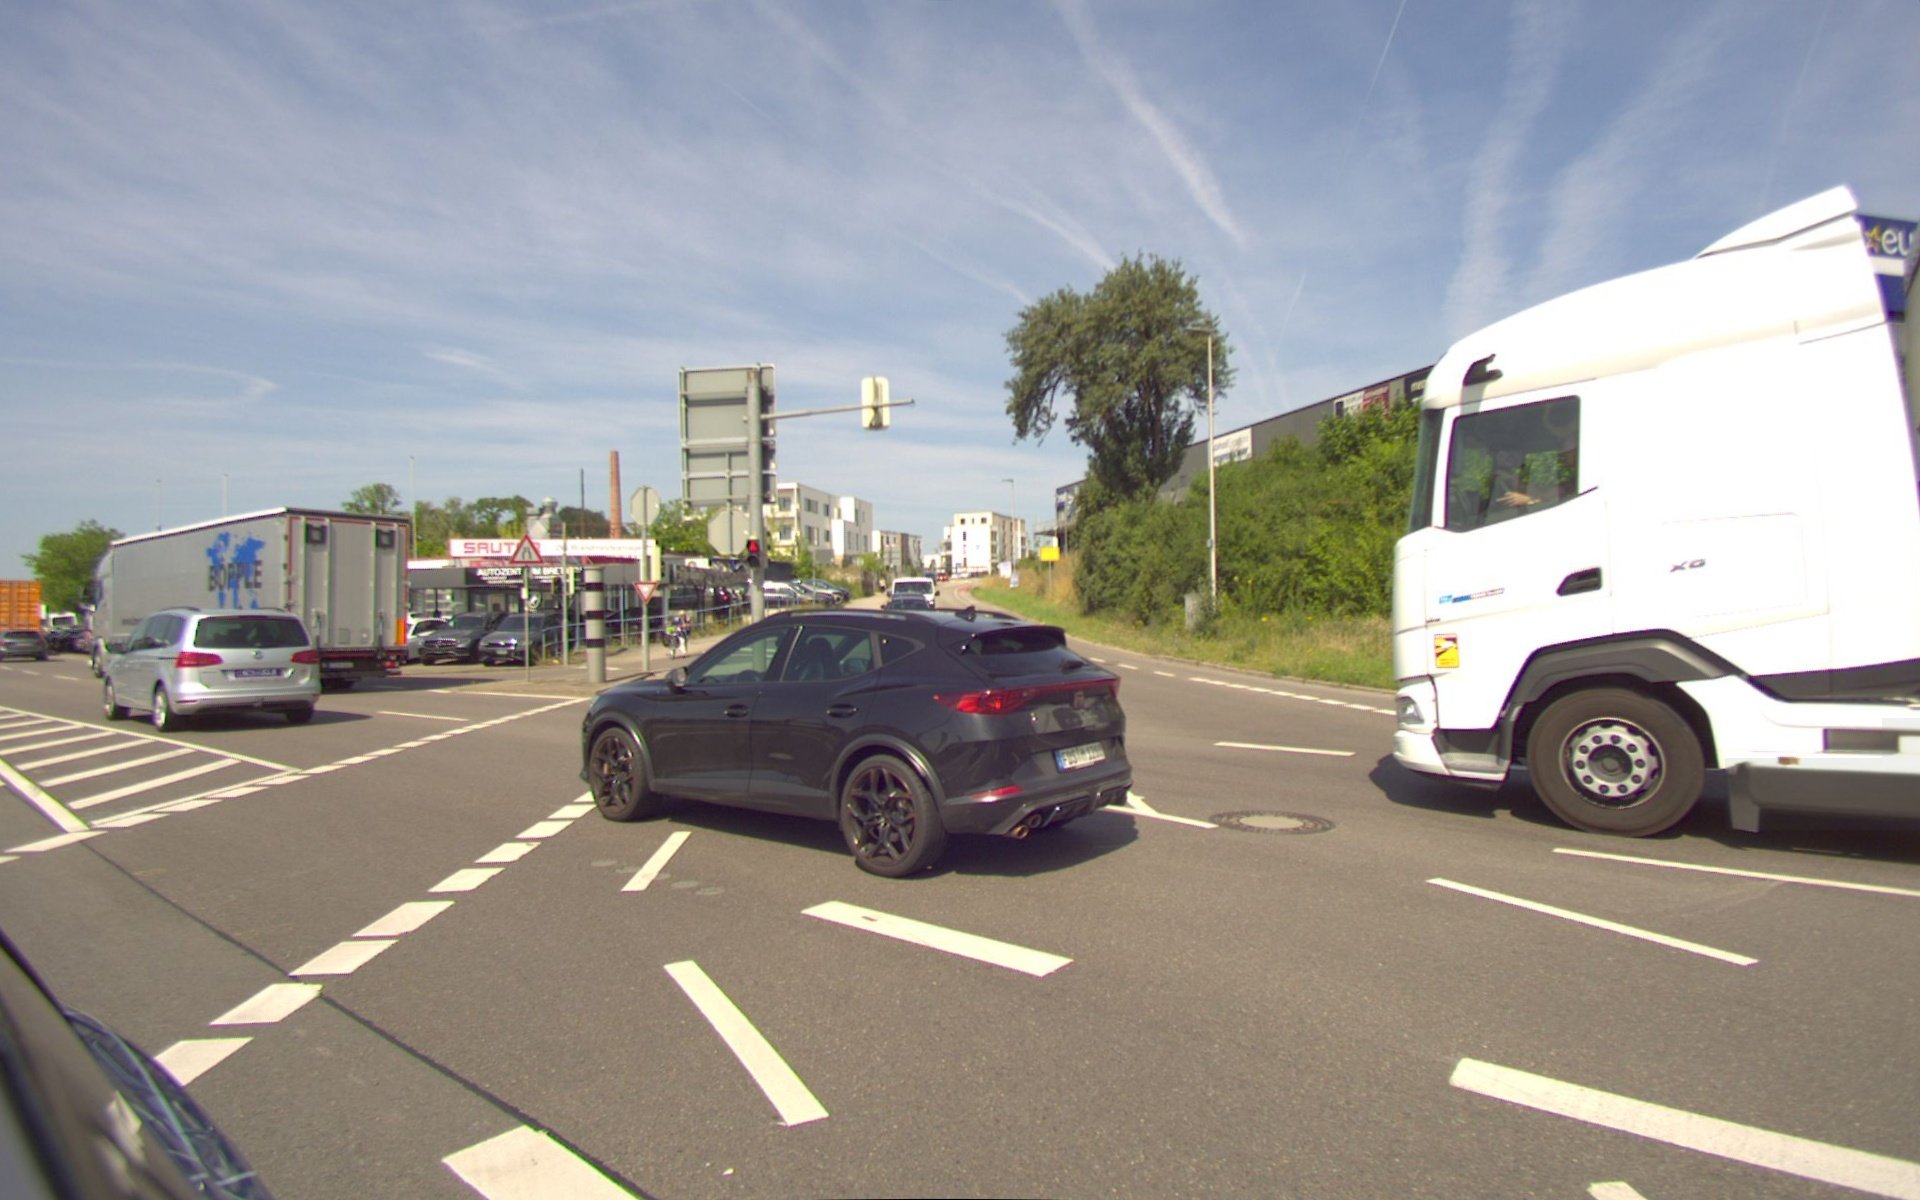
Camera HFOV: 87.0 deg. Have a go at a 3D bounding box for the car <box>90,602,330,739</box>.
[{"bbox_3d":[-11.506,1.003,15.403,4.583,1.745,1.825,-2,0,39],"label":"car"}]

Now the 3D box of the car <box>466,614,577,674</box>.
[{"bbox_3d":[-14.870,1.429,34.591,1.862,1.638,4.745,-2,2,-2],"label":"car"}]

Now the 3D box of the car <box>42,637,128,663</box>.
[{"bbox_3d":[-54.694,3.076,63.295,1.756,1.493,3.942,-2,-2,44],"label":"car"}]

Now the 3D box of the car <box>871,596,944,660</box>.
[{"bbox_3d":[-1.547,0.732,29.405,1.887,1.538,4.641,-2,2,-3],"label":"car"}]

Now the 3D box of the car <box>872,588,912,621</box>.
[{"bbox_3d":[-3.570,0.200,53.329,1.970,1.574,4.513,-1,1,-3],"label":"car"}]

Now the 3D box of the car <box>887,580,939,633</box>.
[{"bbox_3d":[-2.101,0.212,44.318,2.037,2.056,5.520,-2,2,-3],"label":"car"}]

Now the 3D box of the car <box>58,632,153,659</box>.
[{"bbox_3d":[-49.294,2.604,58.421,1.905,1.465,3.945,-2,-2,41],"label":"car"}]

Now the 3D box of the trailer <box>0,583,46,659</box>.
[{"bbox_3d":[-54.711,1.244,57.443,12.226,4.029,2.693,-2,-2,41],"label":"trailer"}]

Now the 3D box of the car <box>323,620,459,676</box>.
[{"bbox_3d":[-19.554,1.591,35.059,1.928,1.524,4.715,-2,2,1],"label":"car"}]

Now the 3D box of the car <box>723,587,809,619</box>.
[{"bbox_3d":[-9.829,0.146,51.538,4.012,1.574,2.001,-1,1,-1],"label":"car"}]

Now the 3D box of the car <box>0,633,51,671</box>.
[{"bbox_3d":[-42.378,2.346,45.666,1.898,1.614,4.592,2,-4,-43],"label":"car"}]

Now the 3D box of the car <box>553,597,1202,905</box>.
[{"bbox_3d":[-0.792,0.793,7.124,4.449,1.496,1.974,-2,-2,39],"label":"car"}]

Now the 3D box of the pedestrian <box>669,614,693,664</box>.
[{"bbox_3d":[-8.792,1.225,31.877,0.493,1.545,0.381,-2,3,29],"label":"pedestrian"}]

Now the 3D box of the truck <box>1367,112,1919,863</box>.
[{"bbox_3d":[6.435,-0.612,6.599,6.339,4.111,3.156,-2,-2,39],"label":"truck"}]

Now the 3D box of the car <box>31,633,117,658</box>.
[{"bbox_3d":[-56.885,2.880,64.994,1.738,1.504,3.925,-2,-2,39],"label":"car"}]

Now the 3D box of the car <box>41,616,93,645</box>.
[{"bbox_3d":[-83.035,2.853,94.192,2.399,2.563,6.060,-1,-1,-29],"label":"car"}]

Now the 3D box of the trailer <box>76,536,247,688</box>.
[{"bbox_3d":[-24.095,0.410,30.454,6.171,4.136,2.620,-2,-2,38],"label":"trailer"}]

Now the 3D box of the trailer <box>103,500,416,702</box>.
[{"bbox_3d":[-18.712,0.185,26.315,13.858,4.179,2.666,-2,-2,38],"label":"trailer"}]

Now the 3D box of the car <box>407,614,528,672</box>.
[{"bbox_3d":[-17.027,1.436,35.303,1.905,1.638,4.798,-1,2,-1],"label":"car"}]

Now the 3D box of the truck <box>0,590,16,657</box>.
[{"bbox_3d":[-60.554,1.496,62.359,6.052,4.029,2.693,-2,-2,40],"label":"truck"}]

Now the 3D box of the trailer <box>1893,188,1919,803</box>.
[{"bbox_3d":[11.798,-0.751,2.169,14.112,4.111,3.062,-2,-2,39],"label":"trailer"}]

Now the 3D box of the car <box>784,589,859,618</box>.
[{"bbox_3d":[-7.725,0.186,56.708,4.012,1.574,2.001,-1,1,-1],"label":"car"}]

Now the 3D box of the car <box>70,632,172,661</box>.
[{"bbox_3d":[-47.182,2.601,56.942,1.873,1.479,4.202,-2,-2,42],"label":"car"}]

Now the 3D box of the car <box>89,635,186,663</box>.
[{"bbox_3d":[-45.051,2.651,55.487,1.828,1.442,3.895,-2,-2,43],"label":"car"}]

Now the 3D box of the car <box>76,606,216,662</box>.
[{"bbox_3d":[-43.051,1.763,53.636,2.177,2.794,5.505,-2,-2,43],"label":"car"}]

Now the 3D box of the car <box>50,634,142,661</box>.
[{"bbox_3d":[-51.306,2.784,60.161,1.946,1.463,3.945,-2,-2,42],"label":"car"}]
